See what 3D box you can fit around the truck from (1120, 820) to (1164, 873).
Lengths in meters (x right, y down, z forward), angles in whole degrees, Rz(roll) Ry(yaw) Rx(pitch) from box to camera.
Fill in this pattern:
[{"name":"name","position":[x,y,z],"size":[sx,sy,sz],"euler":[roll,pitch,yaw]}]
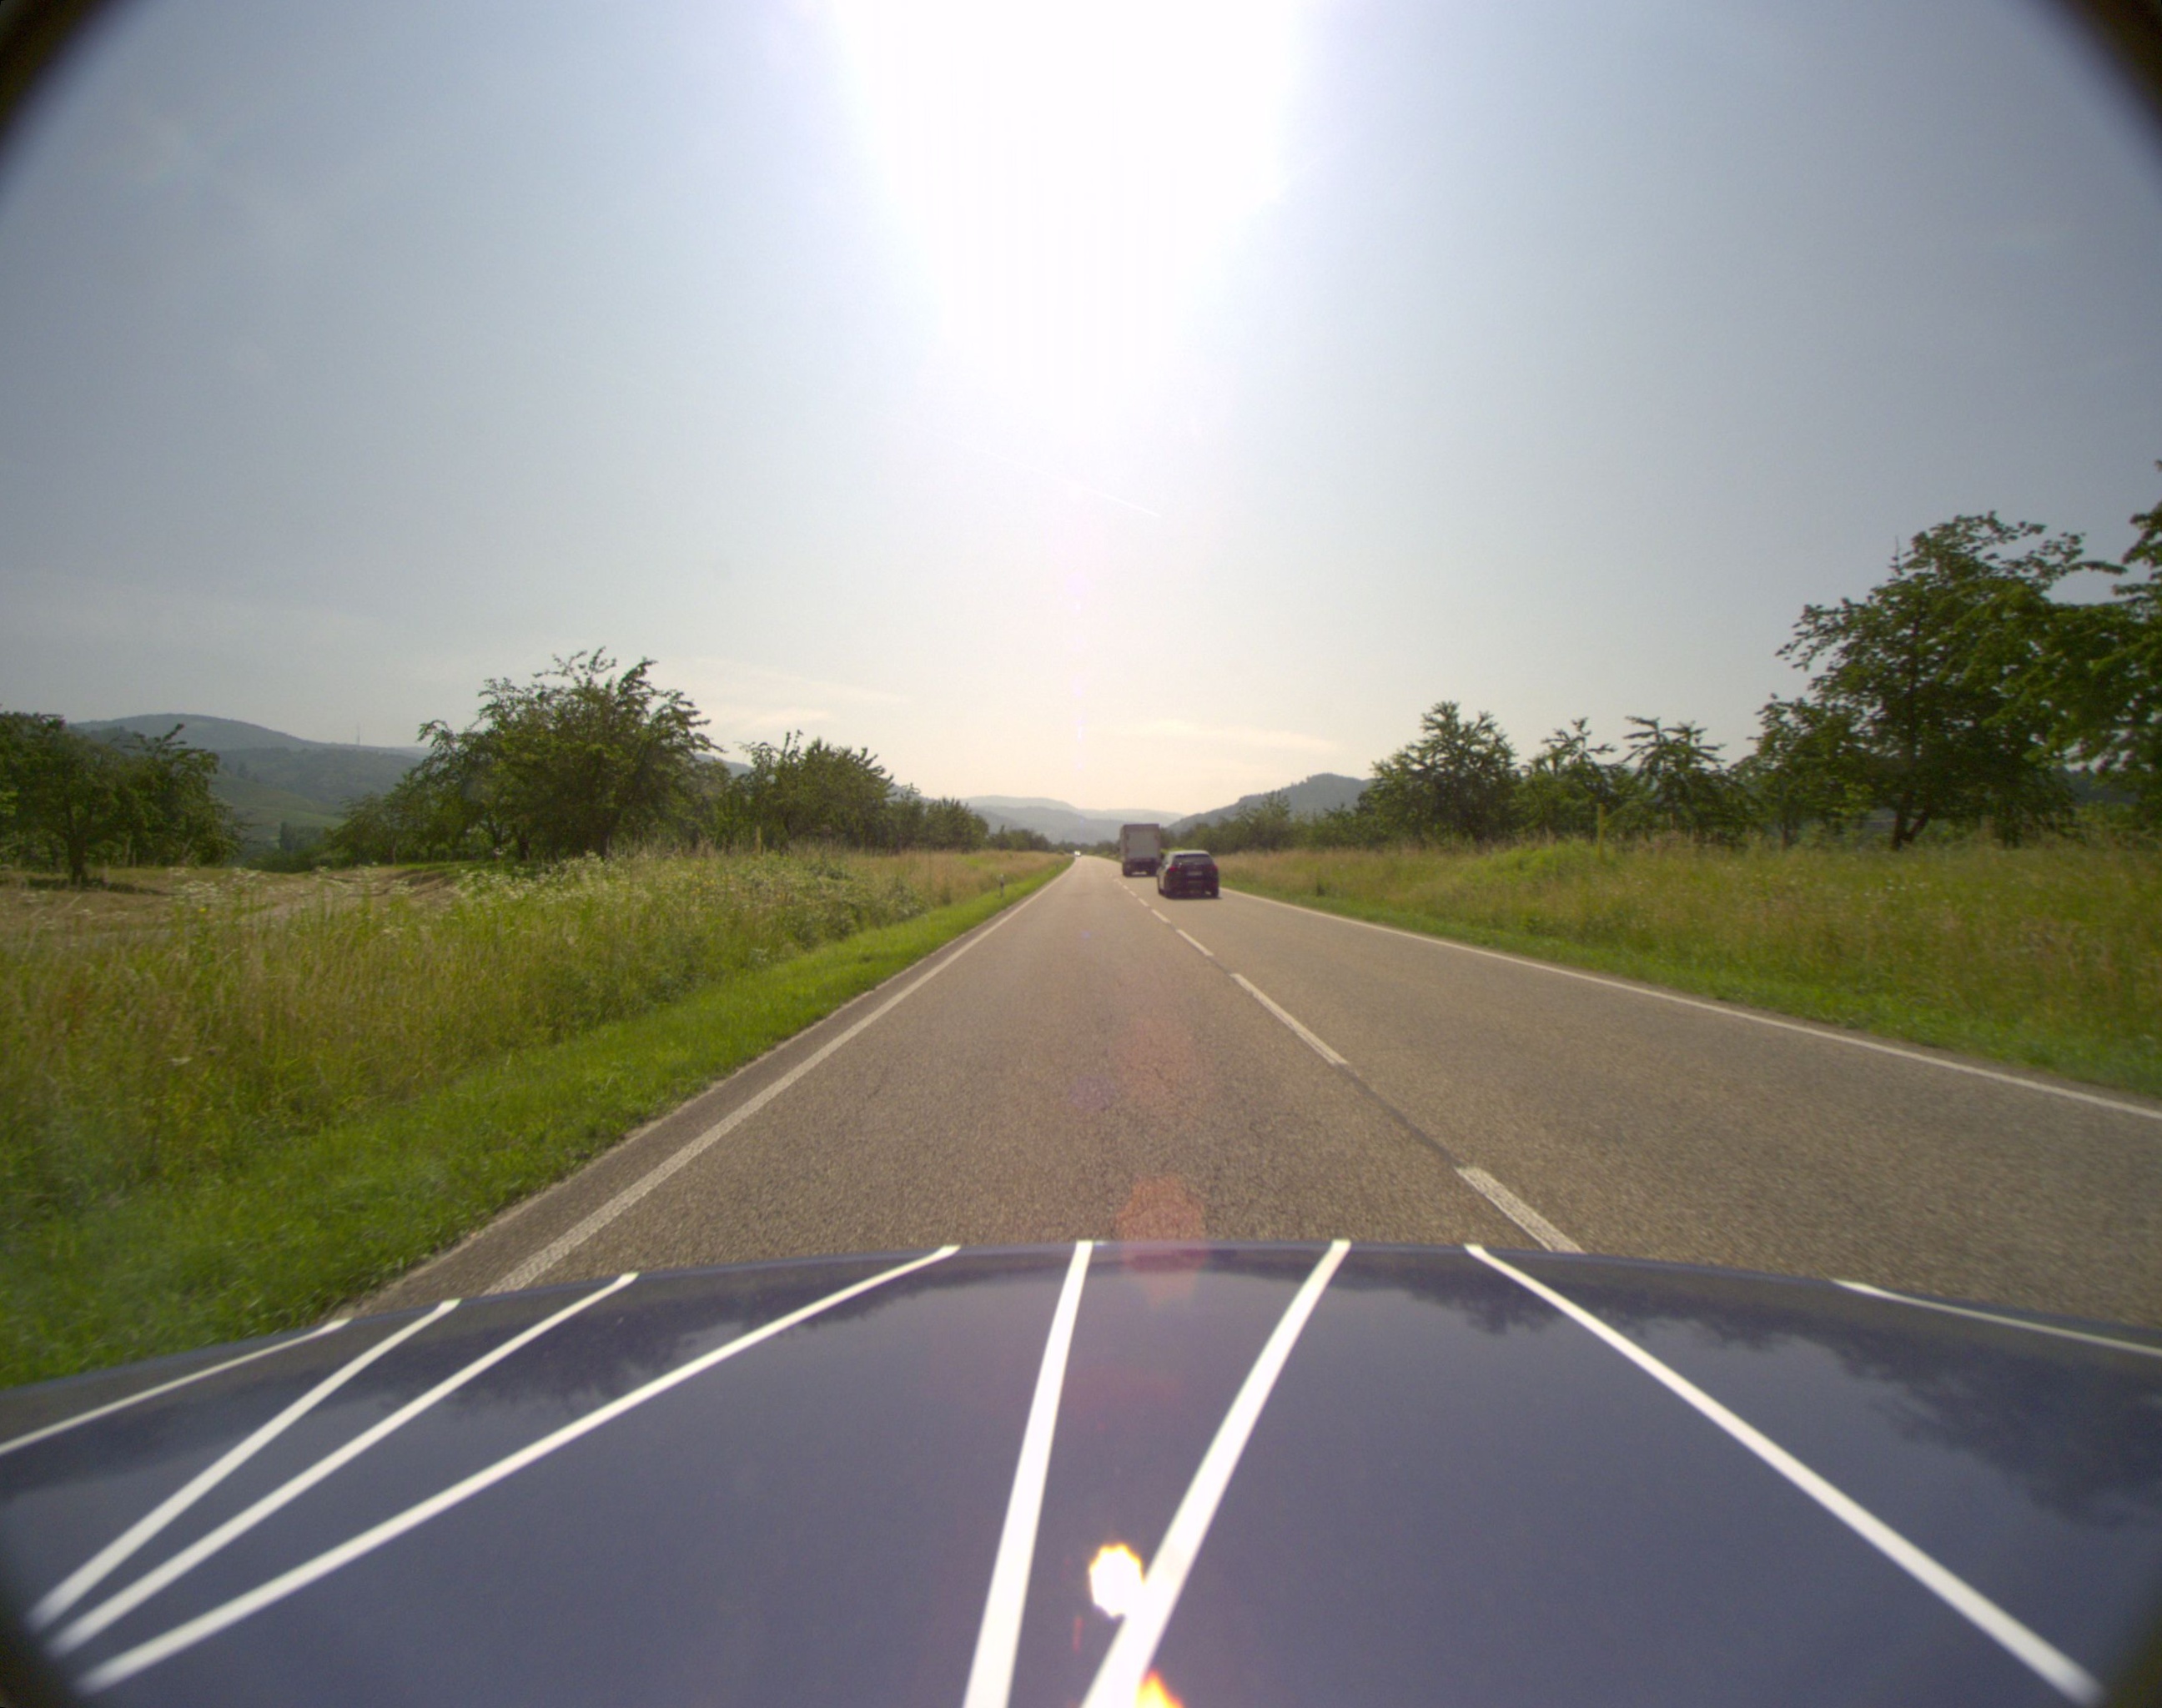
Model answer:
[{"name":"truck","position":[4.656,-0.583,60.166],"size":[2.671,3.816,10.208],"euler":[-1,0,0]}]

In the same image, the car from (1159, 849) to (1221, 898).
[{"name":"car","position":[3.988,0.672,28.488],"size":[1.840,1.668,4.411],"euler":[-1,0,2]}]
